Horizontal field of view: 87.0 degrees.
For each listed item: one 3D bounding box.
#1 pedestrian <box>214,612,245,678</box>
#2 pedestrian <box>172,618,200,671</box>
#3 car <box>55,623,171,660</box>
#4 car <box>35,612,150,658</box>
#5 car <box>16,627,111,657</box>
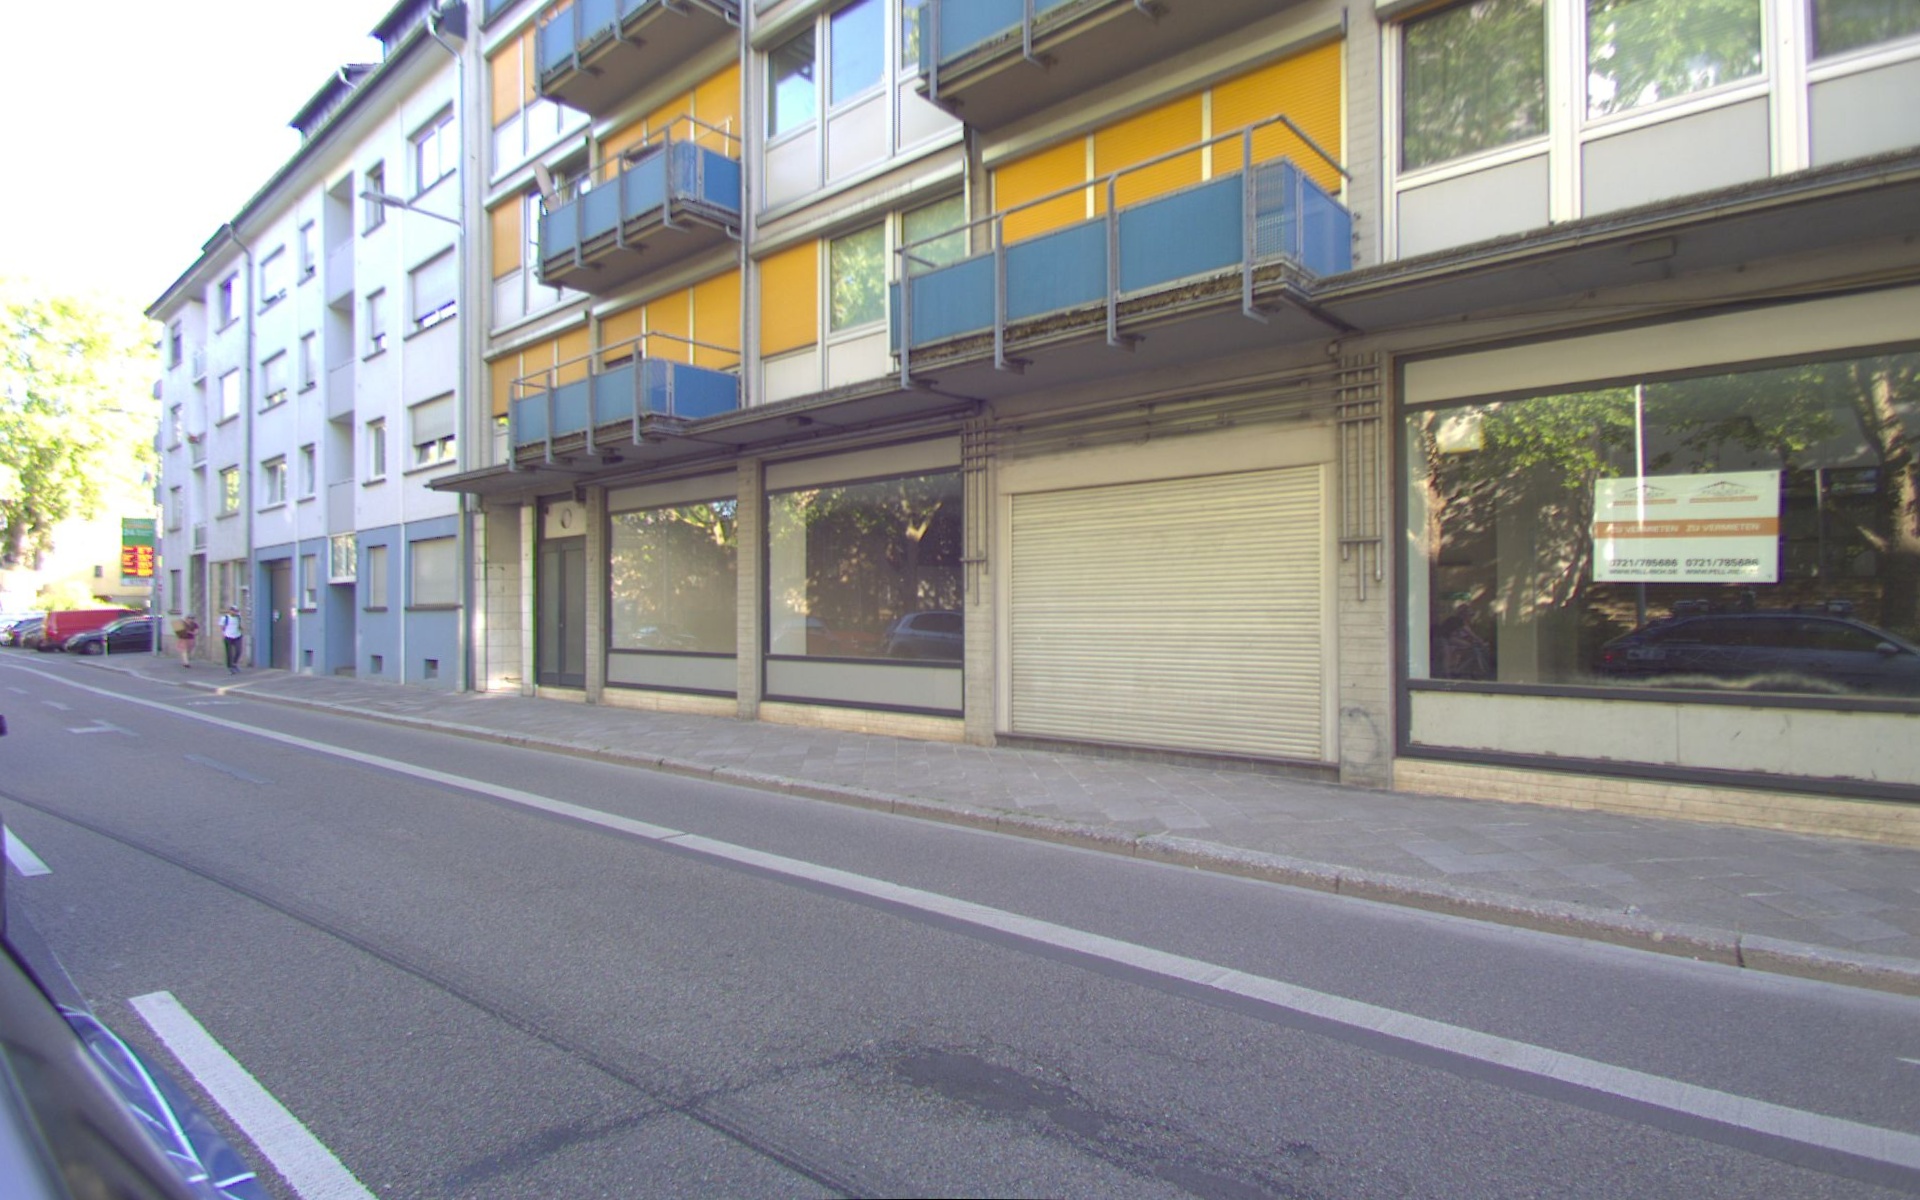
[{"bbox_3d":[-19.609,1.202,27.169,0.343,1.739,0.562,-2,0,41],"label":"pedestrian"},{"bbox_3d":[-22.926,1.324,29.983,0.343,1.529,0.562,-2,0,41],"label":"pedestrian"},{"bbox_3d":[-36.661,1.771,43.876,1.635,1.422,3.623,-1,0,41],"label":"car"},{"bbox_3d":[-40.556,1.585,47.377,1.635,1.937,3.878,-1,0,41],"label":"car"},{"bbox_3d":[-42.978,2.002,48.560,1.294,1.258,3.283,-1,0,41],"label":"car"}]
